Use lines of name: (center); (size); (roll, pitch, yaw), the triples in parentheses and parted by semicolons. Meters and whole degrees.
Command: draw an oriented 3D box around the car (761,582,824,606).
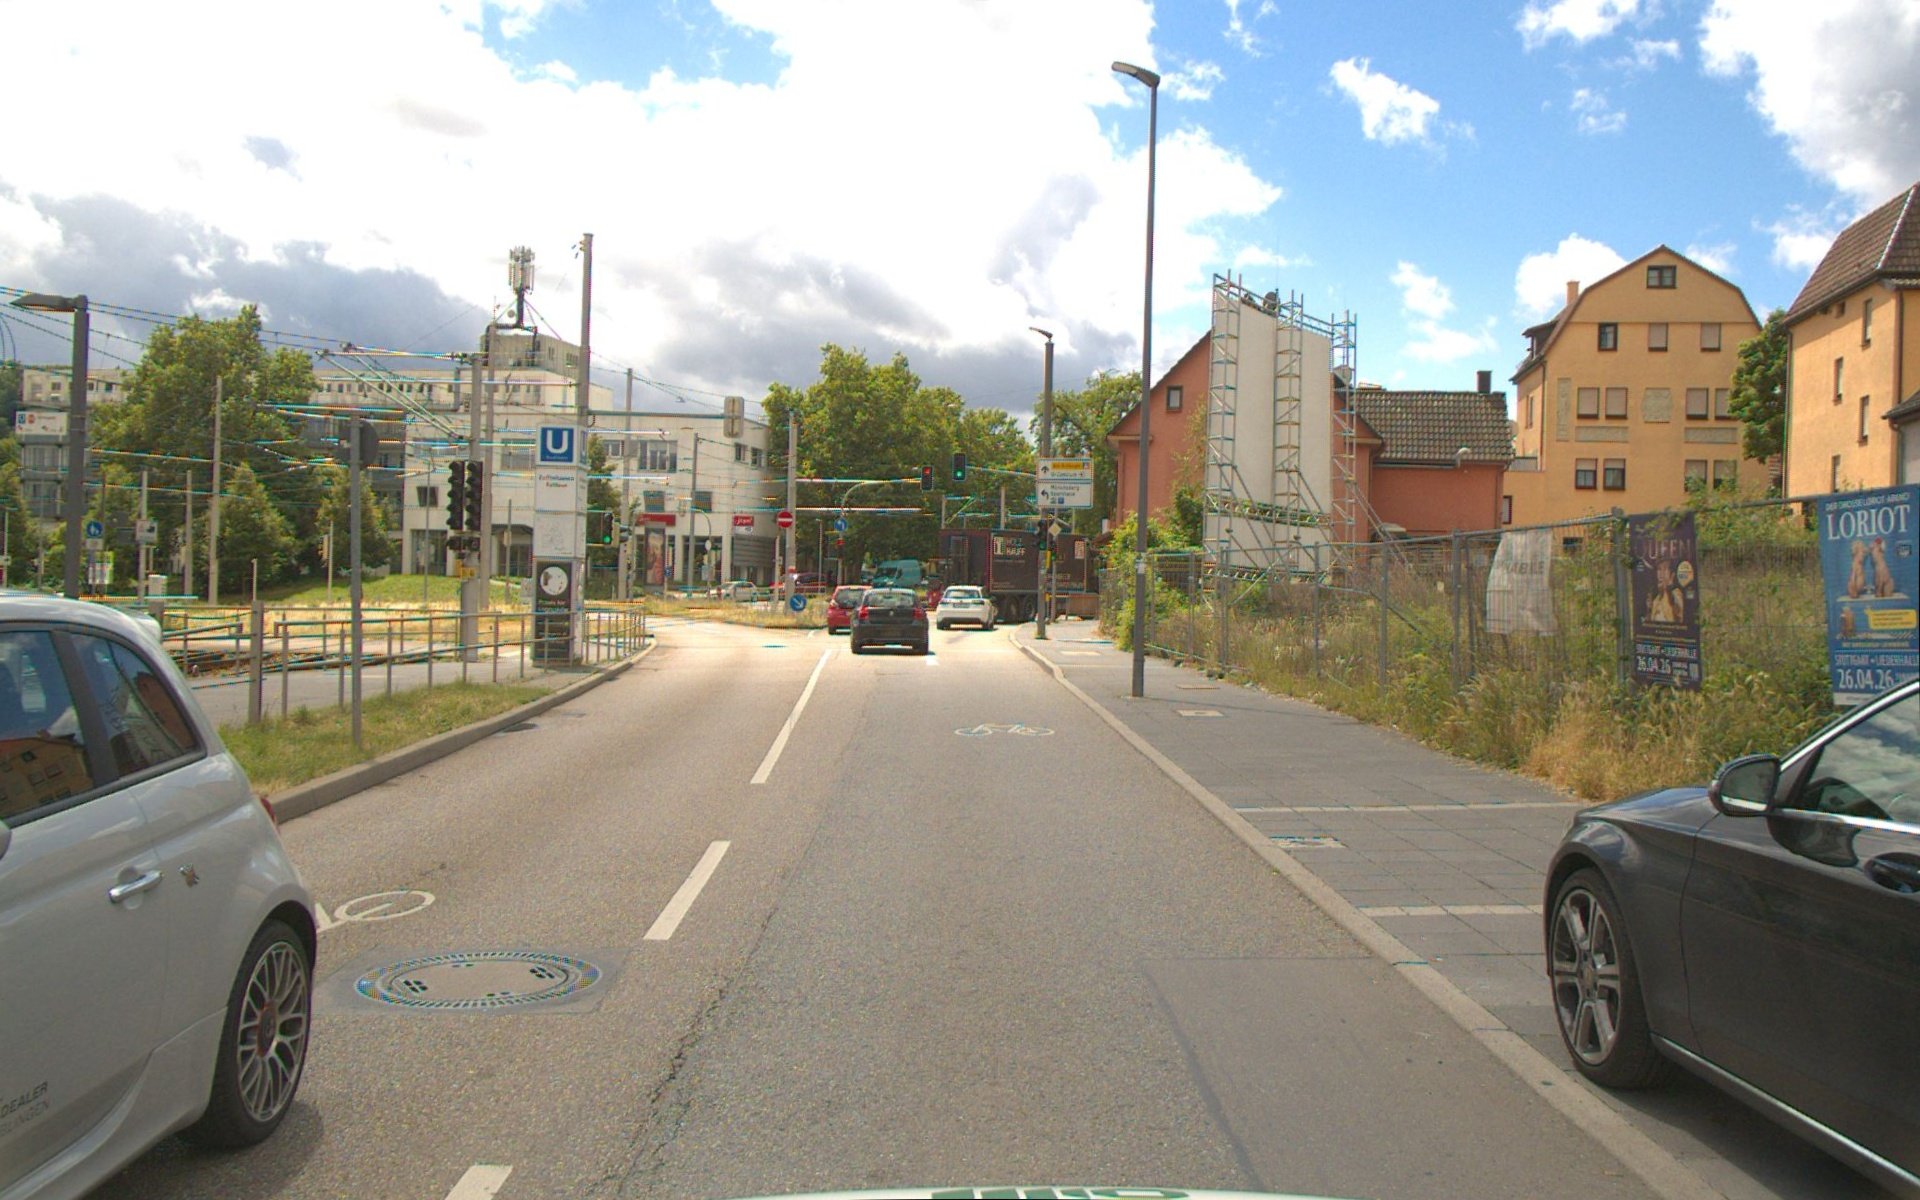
car: (-11.541, -0.437, 113.985); (1.962, 1.628, 4.180); (1, 1, 38)

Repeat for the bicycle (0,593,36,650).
bicycle: (-19.387, 0.436, 33.055); (1.534, 1.120, 0.514); (-1, -2, -3)

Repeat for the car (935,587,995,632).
car: (0.207, 0.347, 57.400); (1.848, 1.491, 4.070); (0, 0, 3)

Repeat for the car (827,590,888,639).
car: (-3.126, 0.416, 50.916); (1.677, 1.417, 3.808); (1, 1, -1)

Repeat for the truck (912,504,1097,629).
truck: (2.010, -1.269, 68.690); (3.148, 4.615, 8.996); (2, -1, 35)

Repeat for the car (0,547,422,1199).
car: (-2.633, 0.636, 3.444); (1.735, 1.534, 3.999); (2, 1, -1)

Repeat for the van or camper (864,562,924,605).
van or camper: (-4.988, -1.241, 125.672); (2.131, 2.854, 6.067); (2, -2, 23)

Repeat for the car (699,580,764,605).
car: (-15.026, -0.481, 108.884); (1.962, 1.489, 3.980); (1, 0, 39)

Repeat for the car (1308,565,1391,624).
car: (8.033, -0.129, 34.246); (1.050, 1.140, 2.445); (-1, 1, -2)

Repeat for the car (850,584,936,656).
car: (-1.551, 0.407, 37.183); (1.693, 1.482, 3.804); (1, 1, -6)

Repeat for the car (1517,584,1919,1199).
car: (2.879, 0.708, 3.537); (1.746, 1.477, 4.474); (0, 1, -2)
